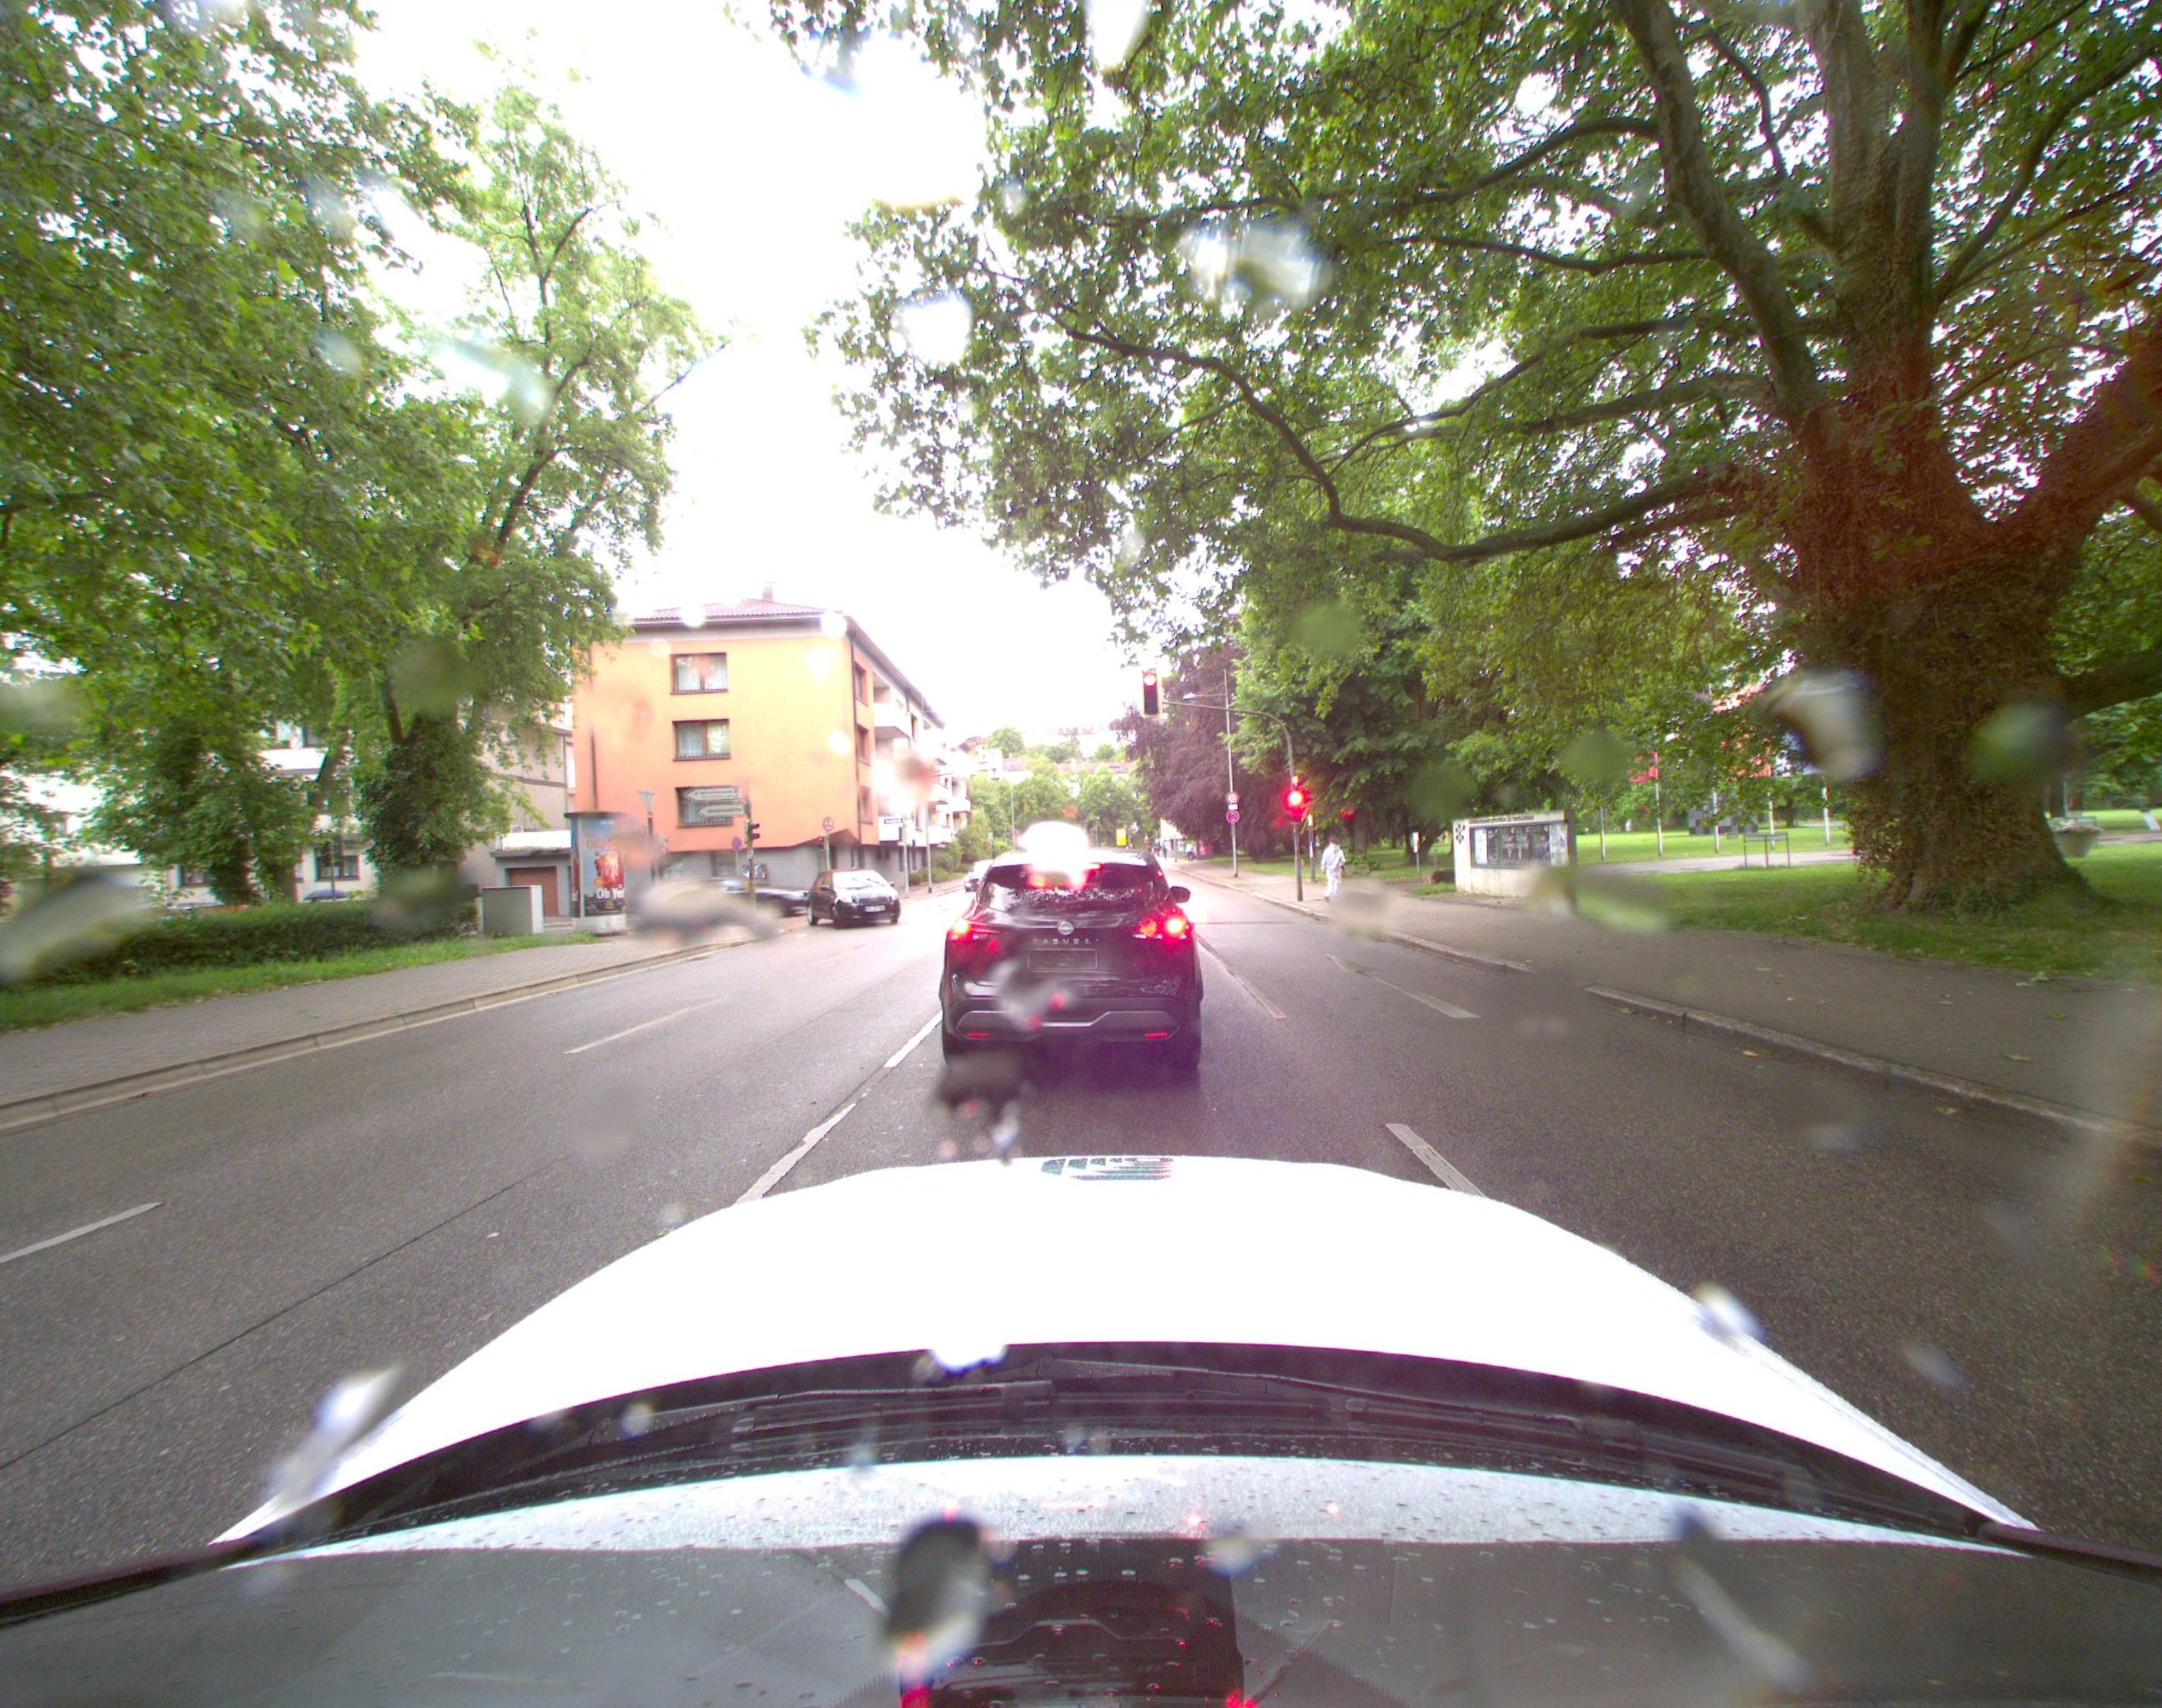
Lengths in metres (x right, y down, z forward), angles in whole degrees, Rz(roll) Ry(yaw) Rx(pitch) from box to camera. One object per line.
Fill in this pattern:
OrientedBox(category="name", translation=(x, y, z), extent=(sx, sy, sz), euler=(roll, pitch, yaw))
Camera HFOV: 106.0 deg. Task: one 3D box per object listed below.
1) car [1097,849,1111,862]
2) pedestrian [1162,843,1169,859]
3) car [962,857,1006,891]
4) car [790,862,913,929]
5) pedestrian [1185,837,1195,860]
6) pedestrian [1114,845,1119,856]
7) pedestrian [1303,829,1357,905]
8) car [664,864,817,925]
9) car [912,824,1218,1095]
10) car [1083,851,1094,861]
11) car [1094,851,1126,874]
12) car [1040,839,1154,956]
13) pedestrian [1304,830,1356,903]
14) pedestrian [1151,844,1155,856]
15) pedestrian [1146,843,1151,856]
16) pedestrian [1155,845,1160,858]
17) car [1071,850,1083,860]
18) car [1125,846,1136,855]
OrientedBox(category="car", translation=(2.813, 0.167, 98.768), extent=(1.628, 1.532, 3.969), euler=(-3, 0, 2))
OrientedBox(category="pedestrian", translation=(9.763, -0.378, 93.795), extent=(0.504, 1.802, 0.623), euler=(-3, 0, 21))
OrientedBox(category="car", translation=(-4.829, 0.953, 41.135), extent=(1.791, 1.533, 3.865), euler=(-3, 0, -2))
OrientedBox(category="car", translation=(-6.220, 1.077, 21.816), extent=(1.810, 1.533, 3.823), euler=(-3, 0, -38))
OrientedBox(category="pedestrian", translation=(9.662, -0.503, 72.180), extent=(0.722, 2.013, 0.852), euler=(-3, 0, 2))
OrientedBox(category="pedestrian", translation=(5.967, -0.560, 135.208), extent=(0.503, 1.673, 0.663), euler=(-3, 0, 29))
OrientedBox(category="pedestrian", translation=(6.531, 0.330, 21.345), extent=(1.035, 1.876, 0.656), euler=(-5, 0, -9))
OrientedBox(category="car", translation=(-11.299, 1.324, 27.278), extent=(4.291, 1.678, 1.725), euler=(-3, 0, -4))
OrientedBox(category="car", translation=(-0.035, 0.659, 7.138), extent=(1.906, 1.680, 4.002), euler=(-1, 0, 2))
OrientedBox(category="car", translation=(1.235, 0.347, 132.901), extent=(1.628, 1.532, 3.969), euler=(-3, 0, 2))
OrientedBox(category="car", translation=(1.922, 0.568, 55.310), extent=(1.820, 1.403, 4.648), euler=(-4, 0, -1))
OrientedBox(category="car", translation=(0.314, 0.675, 14.589), extent=(1.692, 1.745, 3.642), euler=(-3, 0, 2))
OrientedBox(category="pedestrian", translation=(6.736, 0.334, 22.093), extent=(1.035, 1.876, 0.656), euler=(-5, 0, -9))
OrientedBox(category="pedestrian", translation=(10.365, -0.565, 117.602), extent=(0.506, 1.802, 0.659), euler=(-3, 0, 1))
OrientedBox(category="pedestrian", translation=(9.724, -0.652, 117.522), extent=(0.506, 1.802, 0.620), euler=(-3, 0, 1))
OrientedBox(category="pedestrian", translation=(11.071, -0.410, 117.565), extent=(0.507, 1.802, 0.619), euler=(-3, 0, 0))
OrientedBox(category="car", translation=(-0.718, 0.145, 143.741), extent=(1.963, 1.532, 3.969), euler=(-3, 0, 2))
OrientedBox(category="car", translation=(9.619, -0.695, 157.724), extent=(1.983, 1.735, 4.007), euler=(0, 0, 7))
